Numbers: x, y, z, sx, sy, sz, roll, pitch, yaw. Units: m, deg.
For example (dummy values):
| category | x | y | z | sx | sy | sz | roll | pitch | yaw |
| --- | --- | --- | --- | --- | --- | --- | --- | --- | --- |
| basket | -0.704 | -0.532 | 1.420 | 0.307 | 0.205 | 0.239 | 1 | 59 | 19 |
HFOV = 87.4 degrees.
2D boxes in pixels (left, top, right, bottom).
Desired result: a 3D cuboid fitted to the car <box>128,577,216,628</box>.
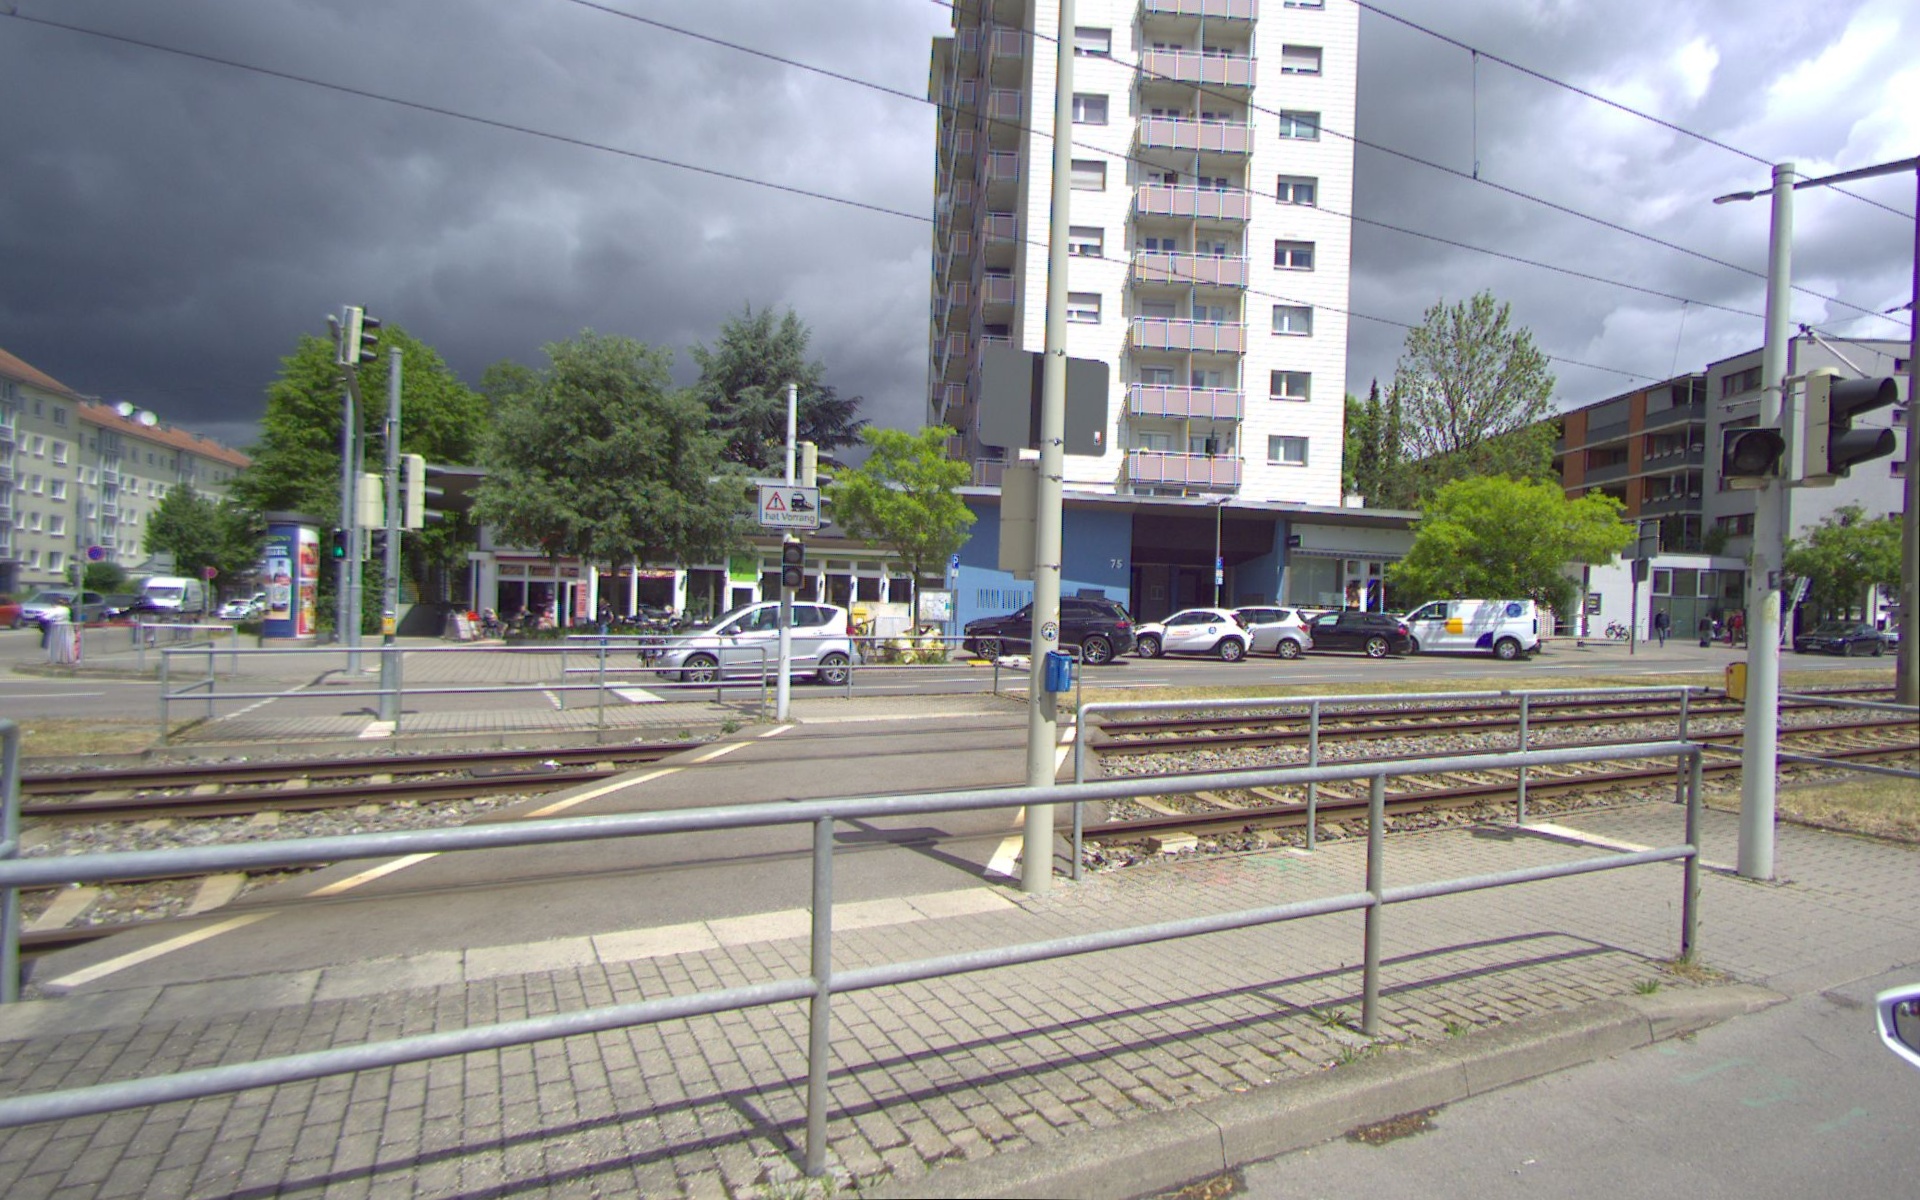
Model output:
| category | x | y | z | sx | sy | sz | roll | pitch | yaw |
| --- | --- | --- | --- | --- | --- | --- | --- | --- | --- |
| car | -45.490 | 0.192 | 58.143 | 2.398 | 2.825 | 4.878 | 0 | -1 | -18 |

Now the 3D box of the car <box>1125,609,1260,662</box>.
| category | x | y | z | sx | sy | sz | roll | pitch | yaw |
| --- | --- | --- | --- | --- | --- | --- | --- | --- | --- |
| car | 6.947 | 1.029 | 30.003 | 3.694 | 1.516 | 1.746 | 0 | -1 | 23 |

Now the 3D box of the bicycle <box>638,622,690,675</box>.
| category | x | y | z | sx | sy | sz | roll | pitch | yaw |
| --- | --- | --- | --- | --- | --- | --- | --- | --- | --- |
| bicycle | -6.483 | 1.032 | 21.906 | 0.695 | 1.080 | 2.419 | 1 | -1 | -26 |

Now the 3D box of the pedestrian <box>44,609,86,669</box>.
| category | x | y | z | sx | sy | sz | roll | pitch | yaw |
| --- | --- | --- | --- | --- | --- | --- | --- | --- | --- |
| pedestrian | -22.510 | 0.985 | 25.272 | 0.516 | 1.492 | 0.572 | 0 | -1 | -1 |

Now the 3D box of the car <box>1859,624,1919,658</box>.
| category | x | y | z | sx | sy | sz | roll | pitch | yaw |
| --- | --- | --- | --- | --- | --- | --- | --- | --- | --- |
| car | 44.492 | 1.903 | 47.140 | 4.337 | 1.495 | 1.750 | 1 | -1 | -23 |

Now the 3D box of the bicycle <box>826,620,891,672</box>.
| category | x | y | z | sx | sy | sz | roll | pitch | yaw |
| --- | --- | --- | --- | --- | --- | --- | --- | --- | --- |
| bicycle | -2.424 | 1.050 | 23.650 | 0.707 | 1.048 | 2.418 | 1 | 1 | -26 |

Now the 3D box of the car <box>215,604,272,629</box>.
| category | x | y | z | sx | sy | sz | roll | pitch | yaw |
| --- | --- | --- | --- | --- | --- | --- | --- | --- | --- |
| car | -48.231 | 1.131 | 67.747 | 1.968 | 1.623 | 3.985 | 0 | -1 | -18 |

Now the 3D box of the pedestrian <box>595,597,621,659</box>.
| category | x | y | z | sx | sy | sz | roll | pitch | yaw |
| --- | --- | --- | --- | --- | --- | --- | --- | --- | --- |
| pedestrian | -9.494 | 0.753 | 27.092 | 0.593 | 1.665 | 0.414 | 1 | -1 | -30 |

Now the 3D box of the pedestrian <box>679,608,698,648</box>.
| category | x | y | z | sx | sy | sz | roll | pitch | yaw |
| --- | --- | --- | --- | --- | --- | --- | --- | --- | --- |
| pedestrian | -10.294 | 1.049 | 38.102 | 0.515 | 1.492 | 0.572 | 0 | -1 | 2 |

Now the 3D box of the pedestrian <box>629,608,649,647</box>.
| category | x | y | z | sx | sy | sz | roll | pitch | yaw |
| --- | --- | --- | --- | --- | --- | --- | --- | --- | --- |
| pedestrian | -12.181 | 1.041 | 38.125 | 0.515 | 1.492 | 0.572 | 0 | -1 | 5 |

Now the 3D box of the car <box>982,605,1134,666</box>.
| category | x | y | z | sx | sy | sz | roll | pitch | yaw |
| --- | --- | --- | --- | --- | --- | --- | --- | --- | --- |
| car | 2.745 | 0.951 | 27.794 | 3.920 | 1.612 | 1.933 | 0 | -1 | 16 |

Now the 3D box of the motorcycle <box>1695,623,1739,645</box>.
| category | x | y | z | sx | sy | sz | roll | pitch | yaw |
| --- | --- | --- | --- | --- | --- | --- | --- | --- | --- |
| motorcycle | 42.869 | 1.916 | 56.913 | 0.733 | 1.194 | 1.883 | 1 | -1 | -30 |

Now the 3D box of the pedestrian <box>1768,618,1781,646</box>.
| category | x | y | z | sx | sy | sz | roll | pitch | yaw |
| --- | --- | --- | --- | --- | --- | --- | --- | --- | --- |
| pedestrian | 44.210 | 1.742 | 54.523 | 0.491 | 1.479 | 0.559 | 0 | -1 | 35 |

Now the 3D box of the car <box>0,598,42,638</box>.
| category | x | y | z | sx | sy | sz | roll | pitch | yaw |
| --- | --- | --- | --- | --- | --- | --- | --- | --- | --- |
| car | -39.471 | 0.717 | 40.595 | 1.968 | 1.623 | 3.985 | 0 | -1 | -18 |

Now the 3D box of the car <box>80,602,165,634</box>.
| category | x | y | z | sx | sy | sz | roll | pitch | yaw |
| --- | --- | --- | --- | --- | --- | --- | --- | --- | --- |
| car | -43.236 | 0.930 | 51.949 | 1.968 | 1.623 | 3.985 | 0 | -1 | -18 |

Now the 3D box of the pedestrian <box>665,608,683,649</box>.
| category | x | y | z | sx | sy | sz | roll | pitch | yaw |
| --- | --- | --- | --- | --- | --- | --- | --- | --- | --- |
| pedestrian | -10.466 | 1.026 | 36.747 | 0.564 | 1.492 | 0.523 | 0 | -1 | -24 |

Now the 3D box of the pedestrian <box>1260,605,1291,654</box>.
| category | x | y | z | sx | sy | sz | roll | pitch | yaw |
| --- | --- | --- | --- | --- | --- | --- | --- | --- | --- |
| pedestrian | 12.031 | 1.125 | 38.316 | 0.876 | 1.845 | 0.768 | 1 | -1 | -15 |

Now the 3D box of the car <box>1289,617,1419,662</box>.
| category | x | y | z | sx | sy | sz | roll | pitch | yaw |
| --- | --- | --- | --- | --- | --- | --- | --- | --- | --- |
| car | 12.987 | 1.288 | 33.272 | 3.922 | 1.402 | 1.906 | 0 | -1 | 21 |

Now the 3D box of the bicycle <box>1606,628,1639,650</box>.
| category | x | y | z | sx | sy | sz | roll | pitch | yaw |
| --- | --- | --- | --- | --- | --- | --- | --- | --- | --- |
| bicycle | 37.348 | 2.190 | 56.683 | 0.656 | 1.228 | 1.974 | 0 | -1 | 4 |

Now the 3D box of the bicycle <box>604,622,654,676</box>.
| category | x | y | z | sx | sy | sz | roll | pitch | yaw |
| --- | --- | --- | --- | --- | --- | --- | --- | --- | --- |
| bicycle | -7.132 | 1.024 | 21.565 | 0.695 | 1.080 | 2.419 | 1 | -1 | -26 |

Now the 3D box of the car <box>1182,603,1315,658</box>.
| category | x | y | z | sx | sy | sz | roll | pitch | yaw |
| --- | --- | --- | --- | --- | --- | --- | --- | --- | --- |
| car | 9.123 | 0.944 | 31.858 | 3.920 | 1.653 | 1.907 | 0 | -1 | 17 |

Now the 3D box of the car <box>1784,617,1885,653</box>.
| category | x | y | z | sx | sy | sz | roll | pitch | yaw |
| --- | --- | --- | --- | --- | --- | --- | --- | --- | --- |
| car | 38.065 | 1.512 | 43.716 | 4.322 | 1.447 | 1.729 | 1 | 0 | -26 |

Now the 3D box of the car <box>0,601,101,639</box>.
| category | x | y | z | sx | sy | sz | roll | pitch | yaw |
| --- | --- | --- | --- | --- | --- | --- | --- | --- | --- |
| car | -41.127 | 0.890 | 45.461 | 1.968 | 1.623 | 3.985 | 0 | -1 | -18 |

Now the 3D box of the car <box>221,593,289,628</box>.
| category | x | y | z | sx | sy | sz | roll | pitch | yaw |
| --- | --- | --- | --- | --- | --- | --- | --- | --- | --- |
| car | -52.053 | 0.814 | 74.243 | 3.764 | 2.510 | 1.752 | 1 | -1 | -22 |

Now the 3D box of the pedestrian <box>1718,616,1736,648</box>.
| category | x | y | z | sx | sy | sz | roll | pitch | yaw |
| --- | --- | --- | --- | --- | --- | --- | --- | --- | --- |
| pedestrian | 39.073 | 1.629 | 51.176 | 0.654 | 1.594 | 0.686 | 0 | -1 | 35 |

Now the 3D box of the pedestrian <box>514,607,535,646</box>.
| category | x | y | z | sx | sy | sz | roll | pitch | yaw |
| --- | --- | --- | --- | --- | --- | --- | --- | --- | --- |
| pedestrian | -16.693 | 1.018 | 38.533 | 0.515 | 1.492 | 0.572 | 0 | -1 | 5 |

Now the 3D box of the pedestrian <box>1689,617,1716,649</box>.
| category | x | y | z | sx | sy | sz | roll | pitch | yaw |
| --- | --- | --- | --- | --- | --- | --- | --- | --- | --- |
| pedestrian | 35.865 | 1.600 | 48.544 | 0.957 | 1.554 | 0.601 | 0 | -1 | -16 |

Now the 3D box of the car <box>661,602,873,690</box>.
| category | x | y | z | sx | sy | sz | roll | pitch | yaw |
| --- | --- | --- | --- | --- | --- | --- | --- | --- | --- |
| car | -3.710 | 0.847 | 19.301 | 3.702 | 1.553 | 1.814 | 1 | -1 | -24 |

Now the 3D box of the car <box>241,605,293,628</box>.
| category | x | y | z | sx | sy | sz | roll | pitch | yaw |
| --- | --- | --- | --- | --- | --- | --- | --- | --- | --- |
| car | -49.654 | 1.197 | 72.061 | 1.968 | 1.623 | 3.985 | 0 | -1 | -18 |

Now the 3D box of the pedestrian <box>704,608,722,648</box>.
| category | x | y | z | sx | sy | sz | roll | pitch | yaw |
| --- | --- | --- | --- | --- | --- | --- | --- | --- | --- |
| pedestrian | -9.161 | 1.038 | 37.244 | 0.564 | 1.492 | 0.523 | 0 | -1 | -24 |

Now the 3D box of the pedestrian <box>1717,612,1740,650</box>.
| category | x | y | z | sx | sy | sz | roll | pitch | yaw |
| --- | --- | --- | --- | --- | --- | --- | --- | --- | --- |
| pedestrian | 37.018 | 1.478 | 48.396 | 0.833 | 1.816 | 0.608 | 1 | -1 | -29 |

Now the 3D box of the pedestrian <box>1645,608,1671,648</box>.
| category | x | y | z | sx | sy | sz | roll | pitch | yaw |
| --- | --- | --- | --- | --- | --- | --- | --- | --- | --- |
| pedestrian | 32.007 | 1.283 | 46.087 | 0.827 | 1.816 | 0.873 | 0 | -1 | 25 |

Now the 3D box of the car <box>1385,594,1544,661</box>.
| category | x | y | z | sx | sy | sz | roll | pitch | yaw |
| --- | --- | --- | --- | --- | --- | --- | --- | --- | --- |
| car | 17.052 | 0.907 | 34.205 | 4.669 | 2.185 | 1.906 | 0 | -1 | 21 |

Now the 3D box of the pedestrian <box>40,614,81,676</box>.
| category | x | y | z | sx | sy | sz | roll | pitch | yaw |
| --- | --- | --- | --- | --- | --- | --- | --- | --- | --- |
| pedestrian | -22.096 | 1.104 | 24.686 | 0.516 | 1.492 | 0.519 | 0 | -1 | -1 |
